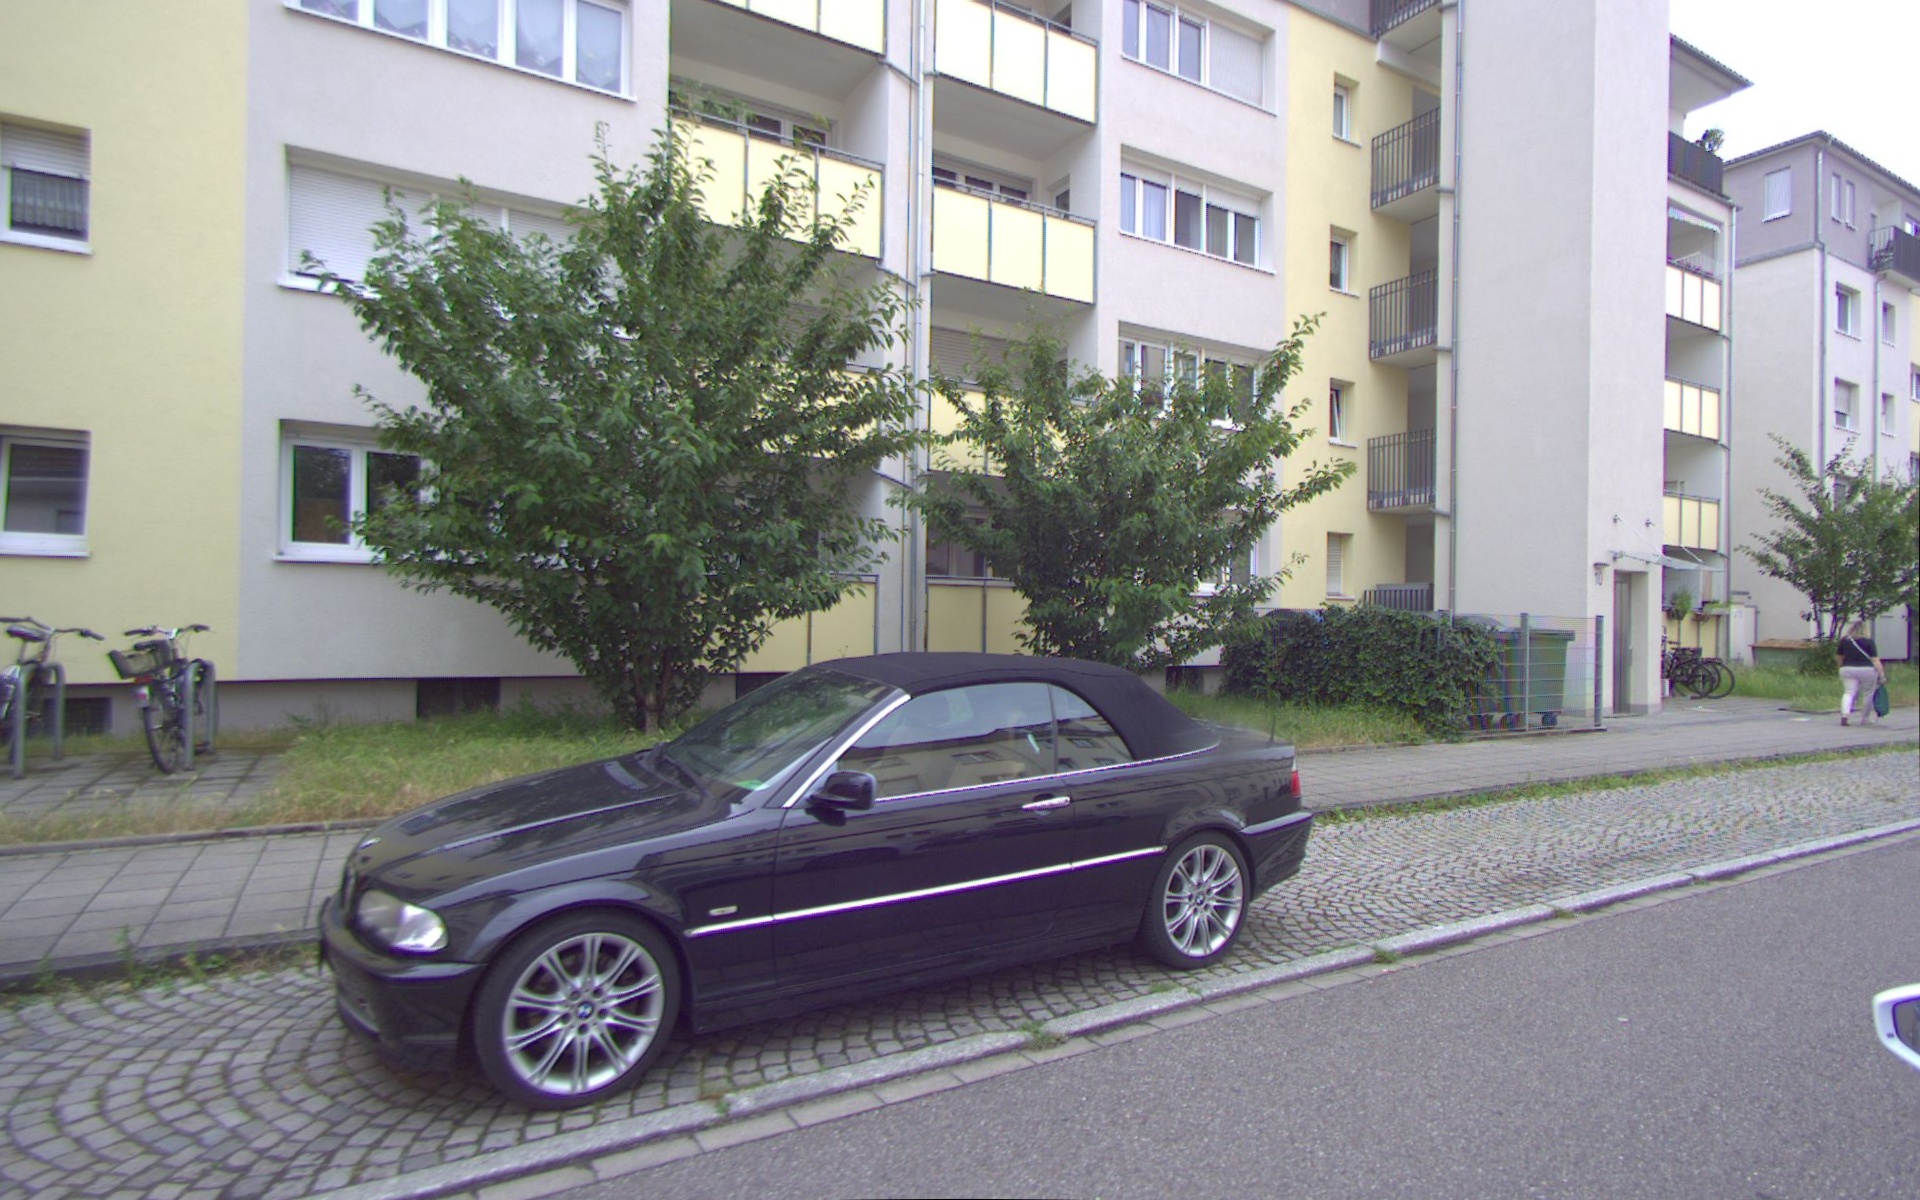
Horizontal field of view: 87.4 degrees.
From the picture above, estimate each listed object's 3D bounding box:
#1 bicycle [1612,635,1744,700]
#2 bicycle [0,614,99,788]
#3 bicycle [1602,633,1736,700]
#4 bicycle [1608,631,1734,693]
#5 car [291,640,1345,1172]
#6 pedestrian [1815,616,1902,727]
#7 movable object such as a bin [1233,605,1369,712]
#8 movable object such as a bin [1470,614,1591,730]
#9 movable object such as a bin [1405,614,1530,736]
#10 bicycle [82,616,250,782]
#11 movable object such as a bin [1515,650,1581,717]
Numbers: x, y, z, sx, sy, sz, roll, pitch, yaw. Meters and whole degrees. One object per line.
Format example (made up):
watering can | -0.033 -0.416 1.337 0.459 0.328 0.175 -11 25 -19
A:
bicycle | 13.929 1.279 19.540 0.618 1.156 2.006 1 -1 -39
bicycle | -7.029 0.687 7.440 0.563 1.133 1.827 1 -1 -27
bicycle | 13.458 1.239 19.121 0.618 1.156 2.006 1 -1 -39
bicycle | 14.420 1.227 20.437 0.616 1.156 2.011 1 -1 -32
car | -0.423 0.910 4.640 4.312 1.341 1.860 2 0 -31
pedestrian | 13.913 1.083 15.552 0.937 1.631 0.794 1 -1 -34
movable object such as a bin | 5.095 0.837 15.048 1.356 1.484 1.345 1 0 -31
movable object such as a bin | 7.559 0.927 13.318 1.271 1.448 0.801 1 0 -26
movable object such as a bin | 6.412 0.920 12.694 1.271 1.448 0.800 1 0 -27
bicycle | -6.224 0.711 7.977 0.562 1.133 1.830 1 0 -23
movable object such as a bin | 9.049 1.265 15.472 0.644 0.978 0.633 1 -1 -29
